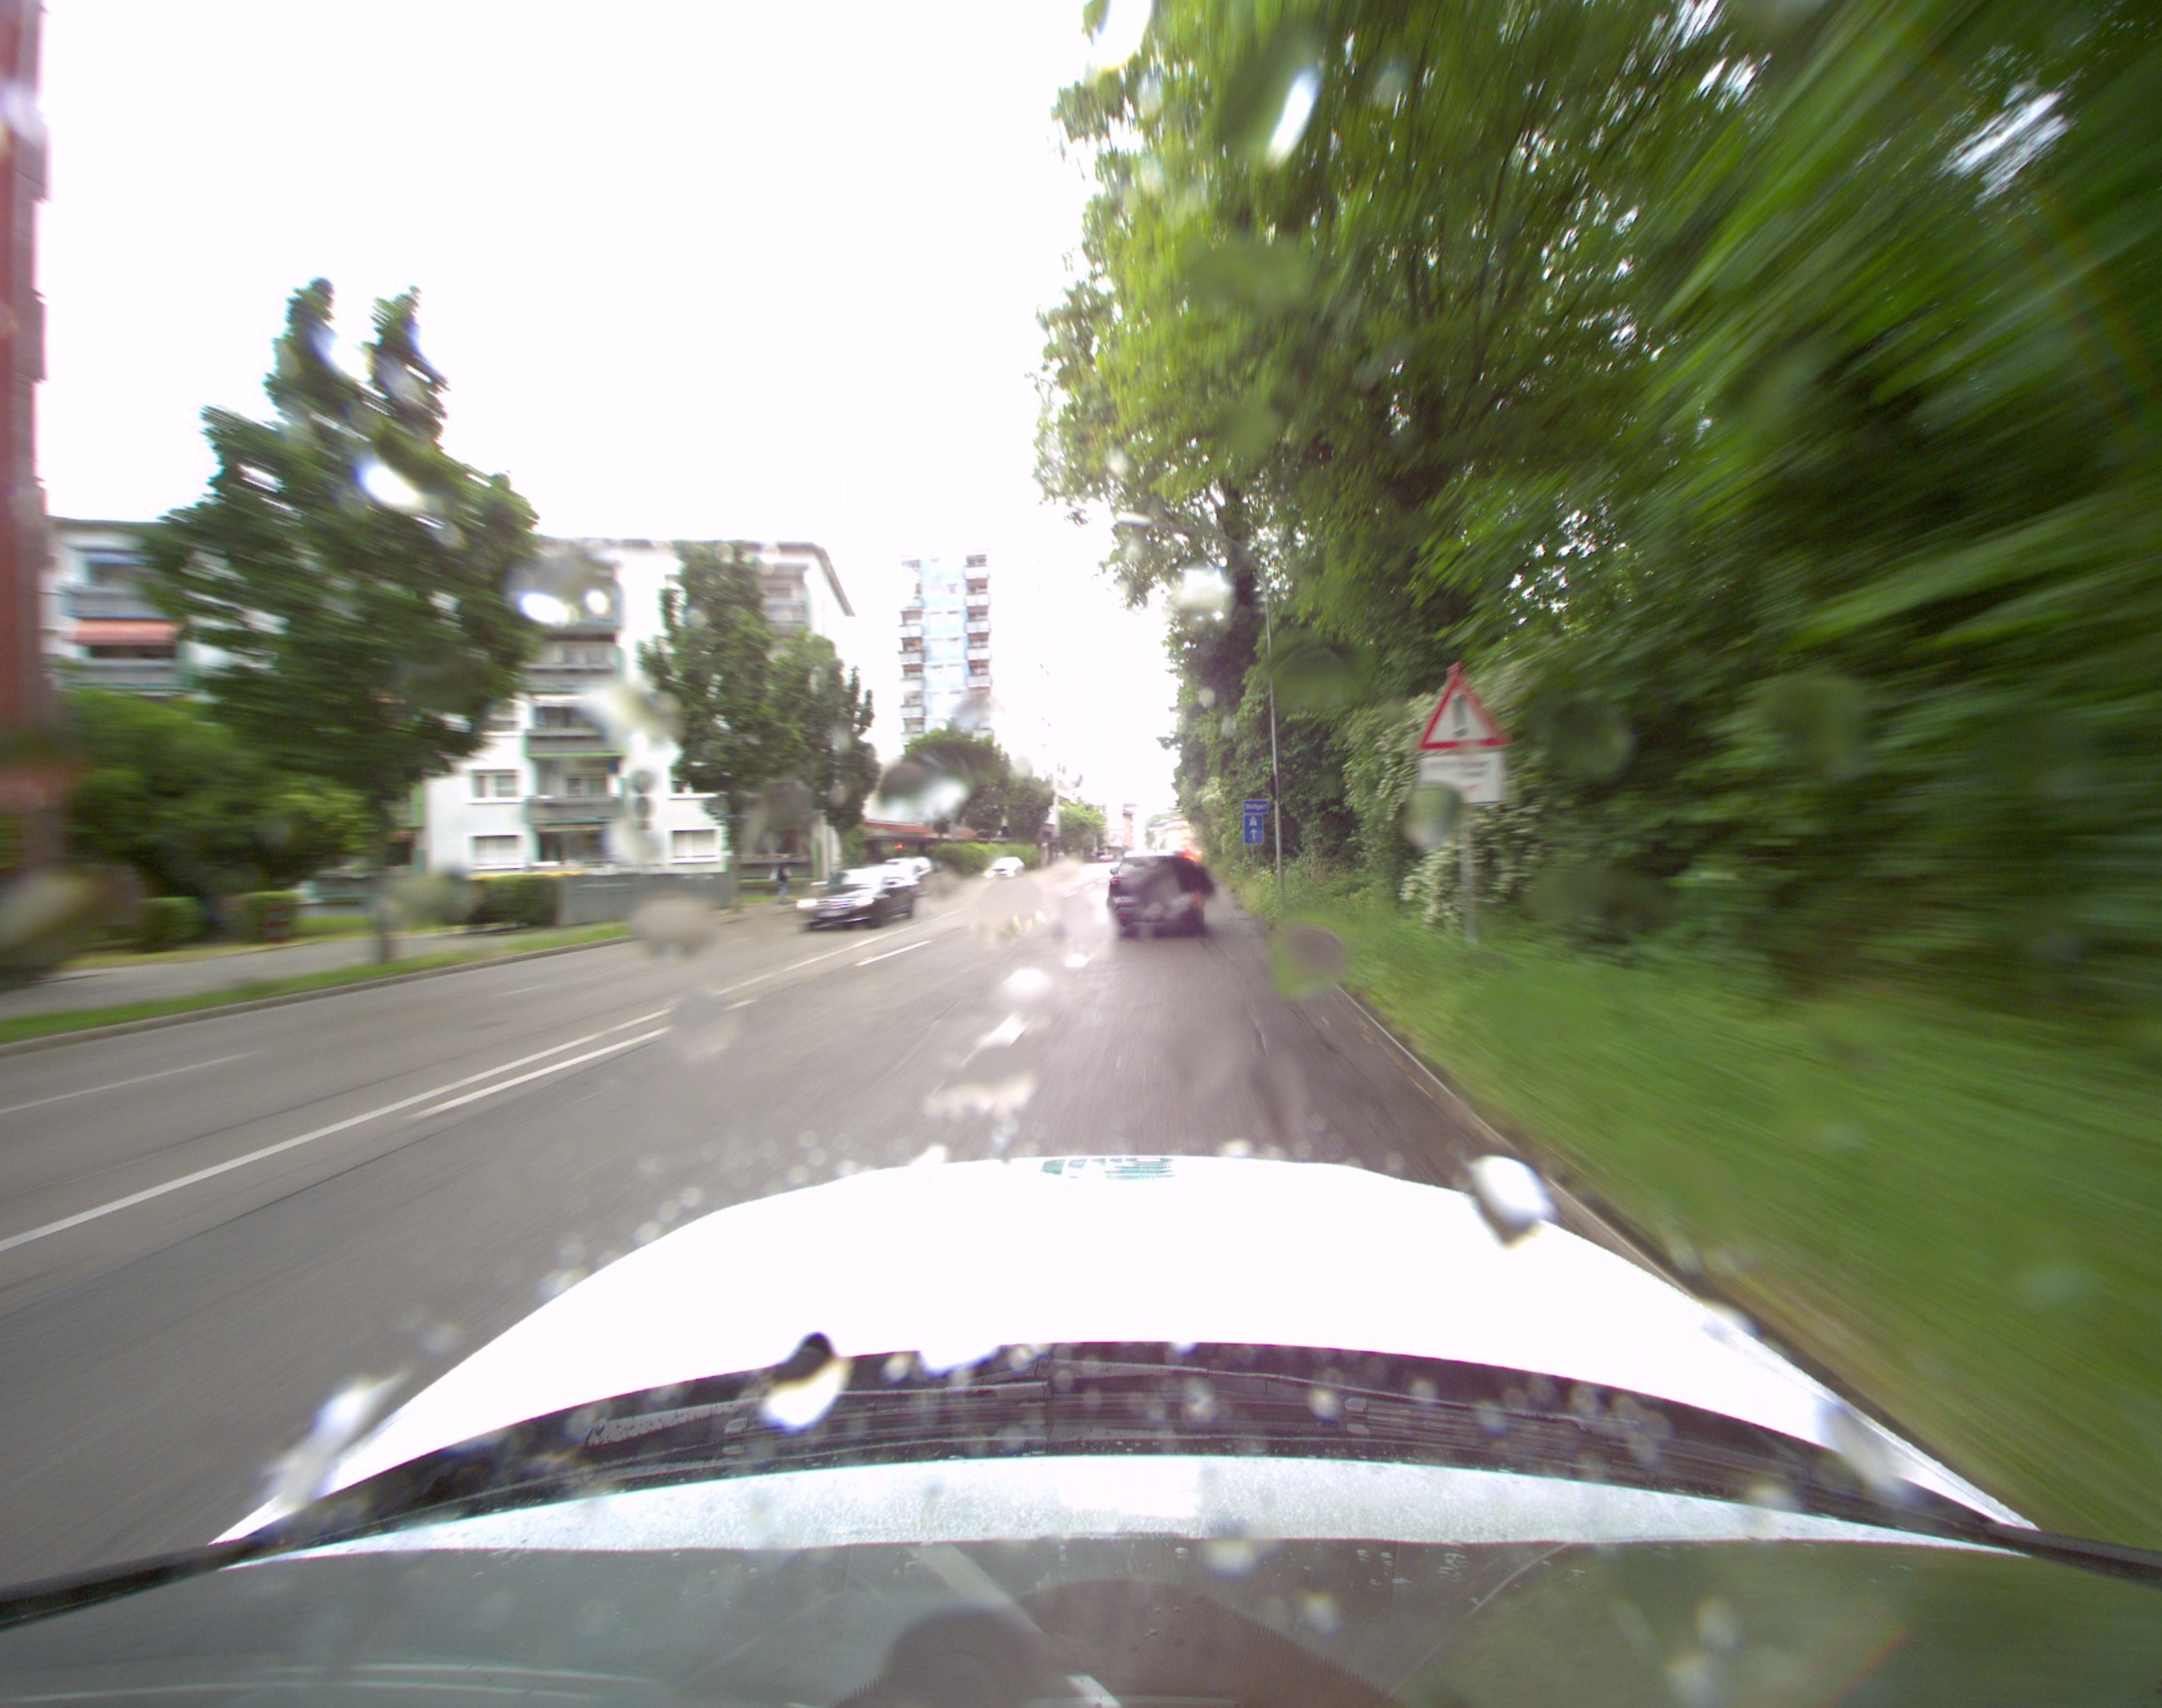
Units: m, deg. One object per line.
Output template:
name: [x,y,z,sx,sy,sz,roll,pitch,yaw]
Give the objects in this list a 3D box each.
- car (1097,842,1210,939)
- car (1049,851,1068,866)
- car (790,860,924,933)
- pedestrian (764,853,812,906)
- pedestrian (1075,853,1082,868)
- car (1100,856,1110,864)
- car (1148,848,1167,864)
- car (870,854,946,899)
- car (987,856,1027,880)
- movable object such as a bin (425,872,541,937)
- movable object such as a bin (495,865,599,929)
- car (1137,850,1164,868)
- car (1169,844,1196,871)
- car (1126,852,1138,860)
car: [1.476,0.623,16.473,1.950,1.652,4.007,-2,1,5]
car: [-2.638,0.547,97.325,1.531,1.706,4.296,-1,0,8]
car: [-5.211,0.928,19.606,1.834,1.385,4.362,-4,0,2]
pedestrian: [-10.582,0.900,29.469,1.129,1.804,1.264,-2,0,3]
pedestrian: [-0.338,0.835,112.120,0.938,2.013,0.886,-3,-1,-2]
car: [4.584,1.185,154.994,1.664,1.478,3.614,-3,0,6]
car: [7.568,0.186,80.522,1.734,1.487,4.170,-2,0,7]
car: [-7.086,0.892,33.878,1.866,1.602,4.469,-4,0,4]
car: [-4.884,0.912,54.479,1.866,1.390,4.631,-4,0,4]
movable object such as a bin: [-13.819,1.123,18.912,1.153,1.331,1.967,-2,0,1]
movable object such as a bin: [-13.765,1.084,21.090,1.211,1.484,2.088,-2,0,1]
car: [6.207,0.403,72.456,2.055,1.464,4.596,-2,0,8]
car: [8.118,0.246,64.868,1.983,2.013,4.009,-2,0,7]
car: [9.468,0.411,150.964,1.987,1.453,4.000,-3,0,0]
